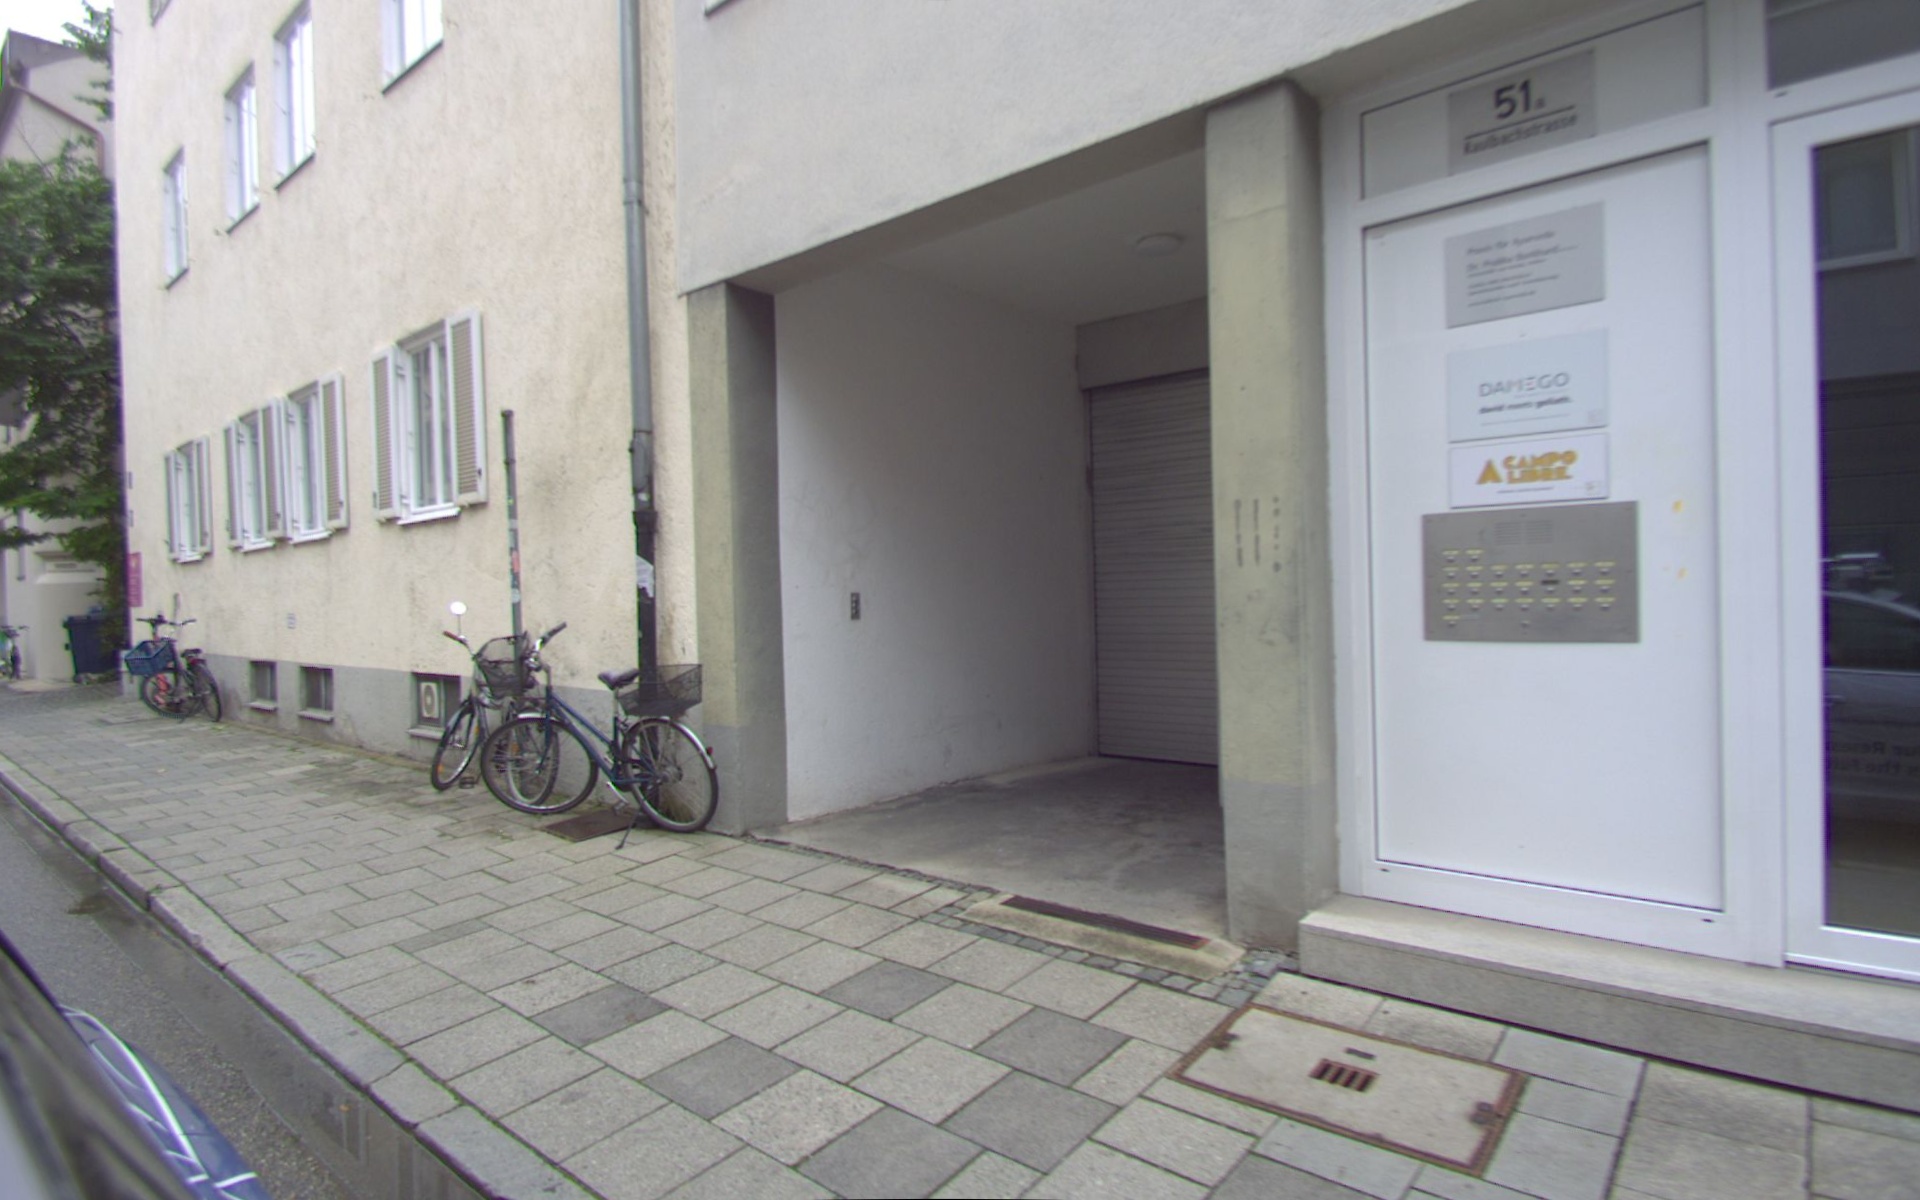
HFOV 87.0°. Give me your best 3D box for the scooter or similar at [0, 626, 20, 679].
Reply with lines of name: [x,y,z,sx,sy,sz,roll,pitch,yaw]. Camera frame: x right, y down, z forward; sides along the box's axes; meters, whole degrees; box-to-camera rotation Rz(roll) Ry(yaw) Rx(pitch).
scooter or similar: [-22.351,1.226,23.429,0.544,1.152,1.362,-4,2,-32]

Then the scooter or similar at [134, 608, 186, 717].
scooter or similar: [-10.640,0.800,13.450,1.238,1.386,0.314,-1,-1,41]

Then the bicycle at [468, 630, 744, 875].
bicycle: [-2.028,0.772,5.694,1.717,1.168,0.557,-1,0,35]

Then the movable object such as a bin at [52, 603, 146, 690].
movable object such as a bin: [-16.250,0.856,19.098,1.161,1.452,1.250,-8,4,-43]

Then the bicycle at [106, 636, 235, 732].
bicycle: [-9.482,0.971,12.135,1.819,0.991,0.697,-1,4,37]

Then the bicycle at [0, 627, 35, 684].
bicycle: [-20.768,1.190,22.104,1.880,1.170,0.539,-1,2,40]

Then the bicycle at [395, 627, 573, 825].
bicycle: [-3.267,0.789,6.883,1.605,1.168,0.453,-1,3,42]
